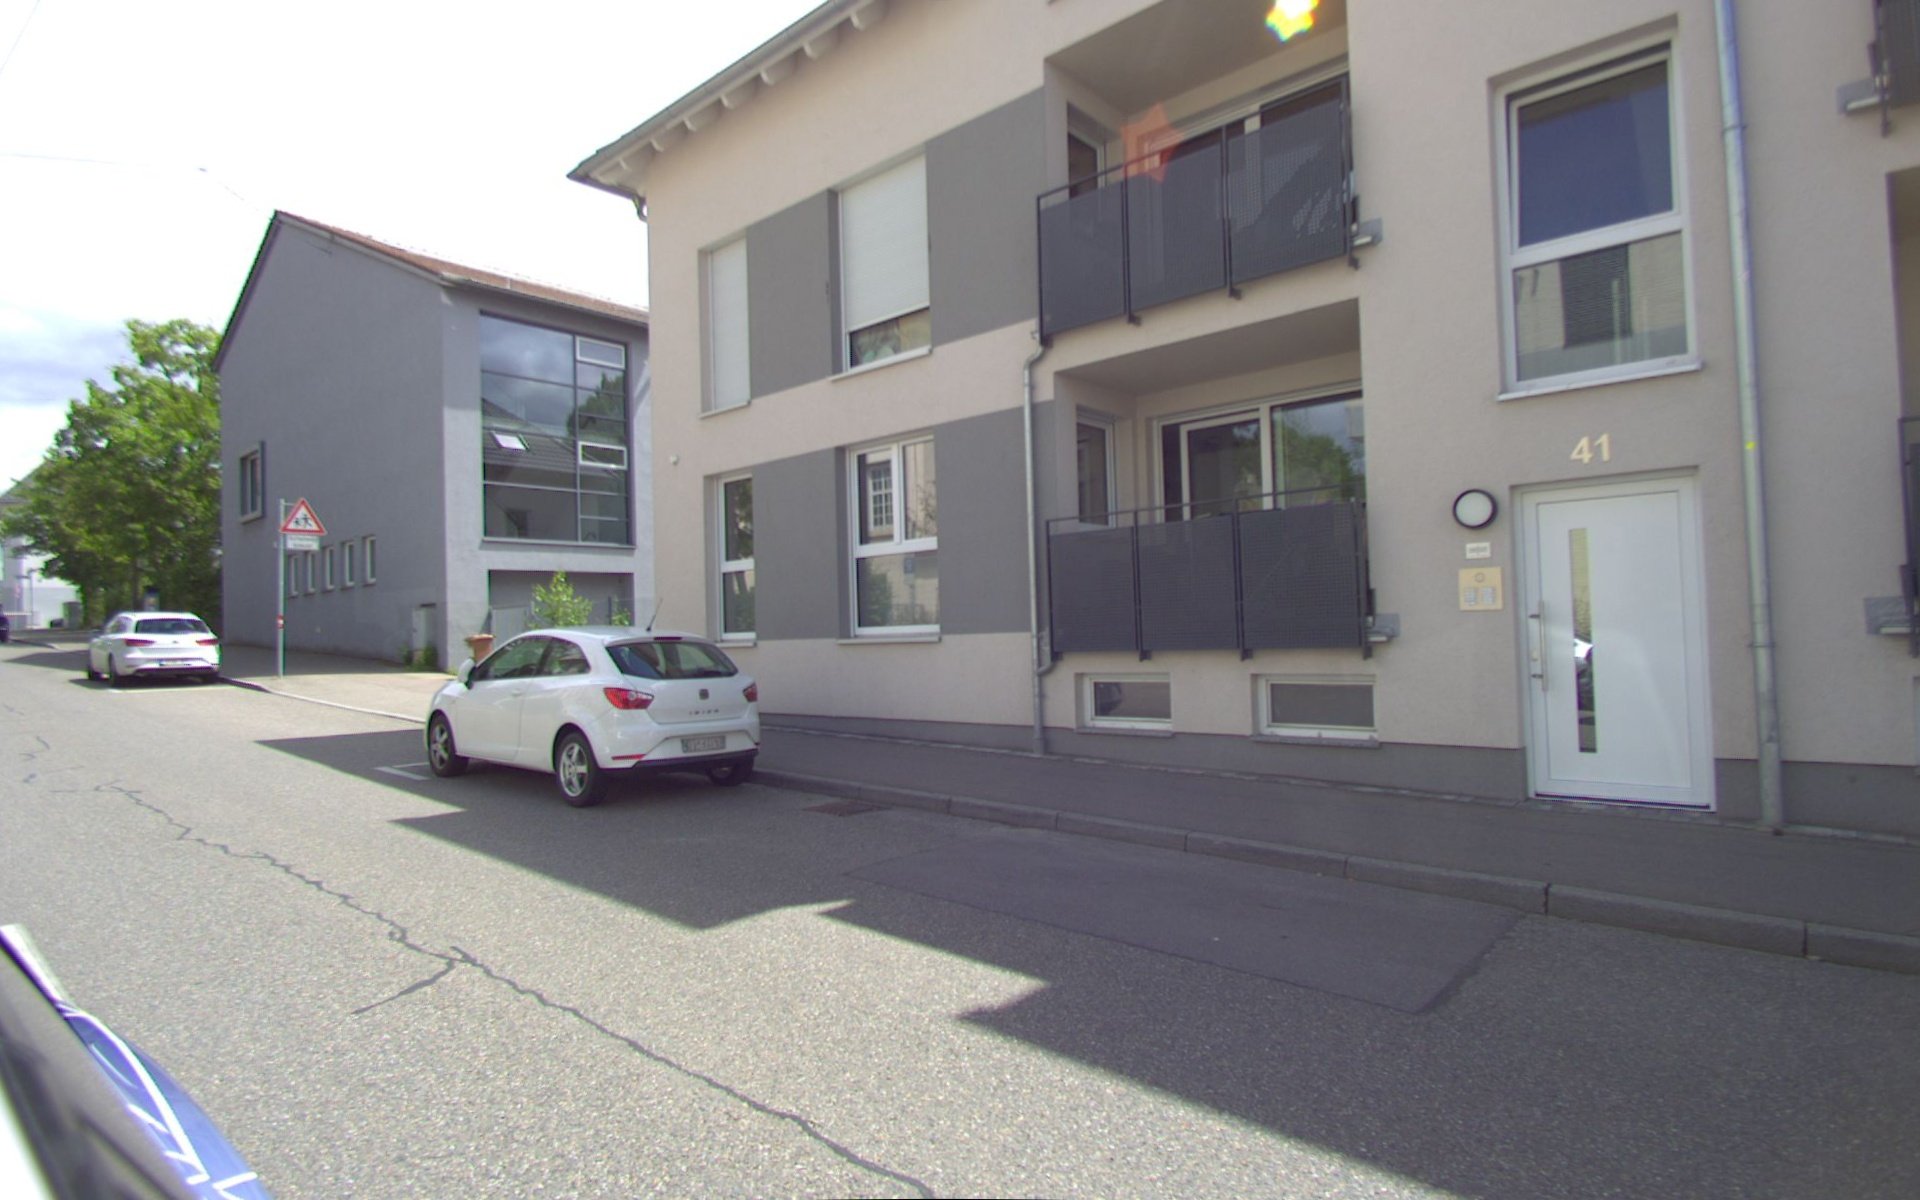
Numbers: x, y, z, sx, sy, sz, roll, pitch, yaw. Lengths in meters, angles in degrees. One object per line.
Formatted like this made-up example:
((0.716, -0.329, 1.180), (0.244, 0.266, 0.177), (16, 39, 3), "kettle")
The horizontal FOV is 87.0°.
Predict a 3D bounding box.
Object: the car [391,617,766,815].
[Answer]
((-3.626, 0.899, 9.342), (3.695, 1.429, 1.630), (-1, 0, 40), "car")

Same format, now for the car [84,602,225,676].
((-16.819, 0.808, 21.082), (3.865, 1.401, 1.679), (-3, -2, 42), "car")

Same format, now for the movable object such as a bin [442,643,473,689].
((-10.546, 1.375, 21.253), (0.399, 0.936, 0.449), (-1, -2, 40), "movable object such as a bin")
